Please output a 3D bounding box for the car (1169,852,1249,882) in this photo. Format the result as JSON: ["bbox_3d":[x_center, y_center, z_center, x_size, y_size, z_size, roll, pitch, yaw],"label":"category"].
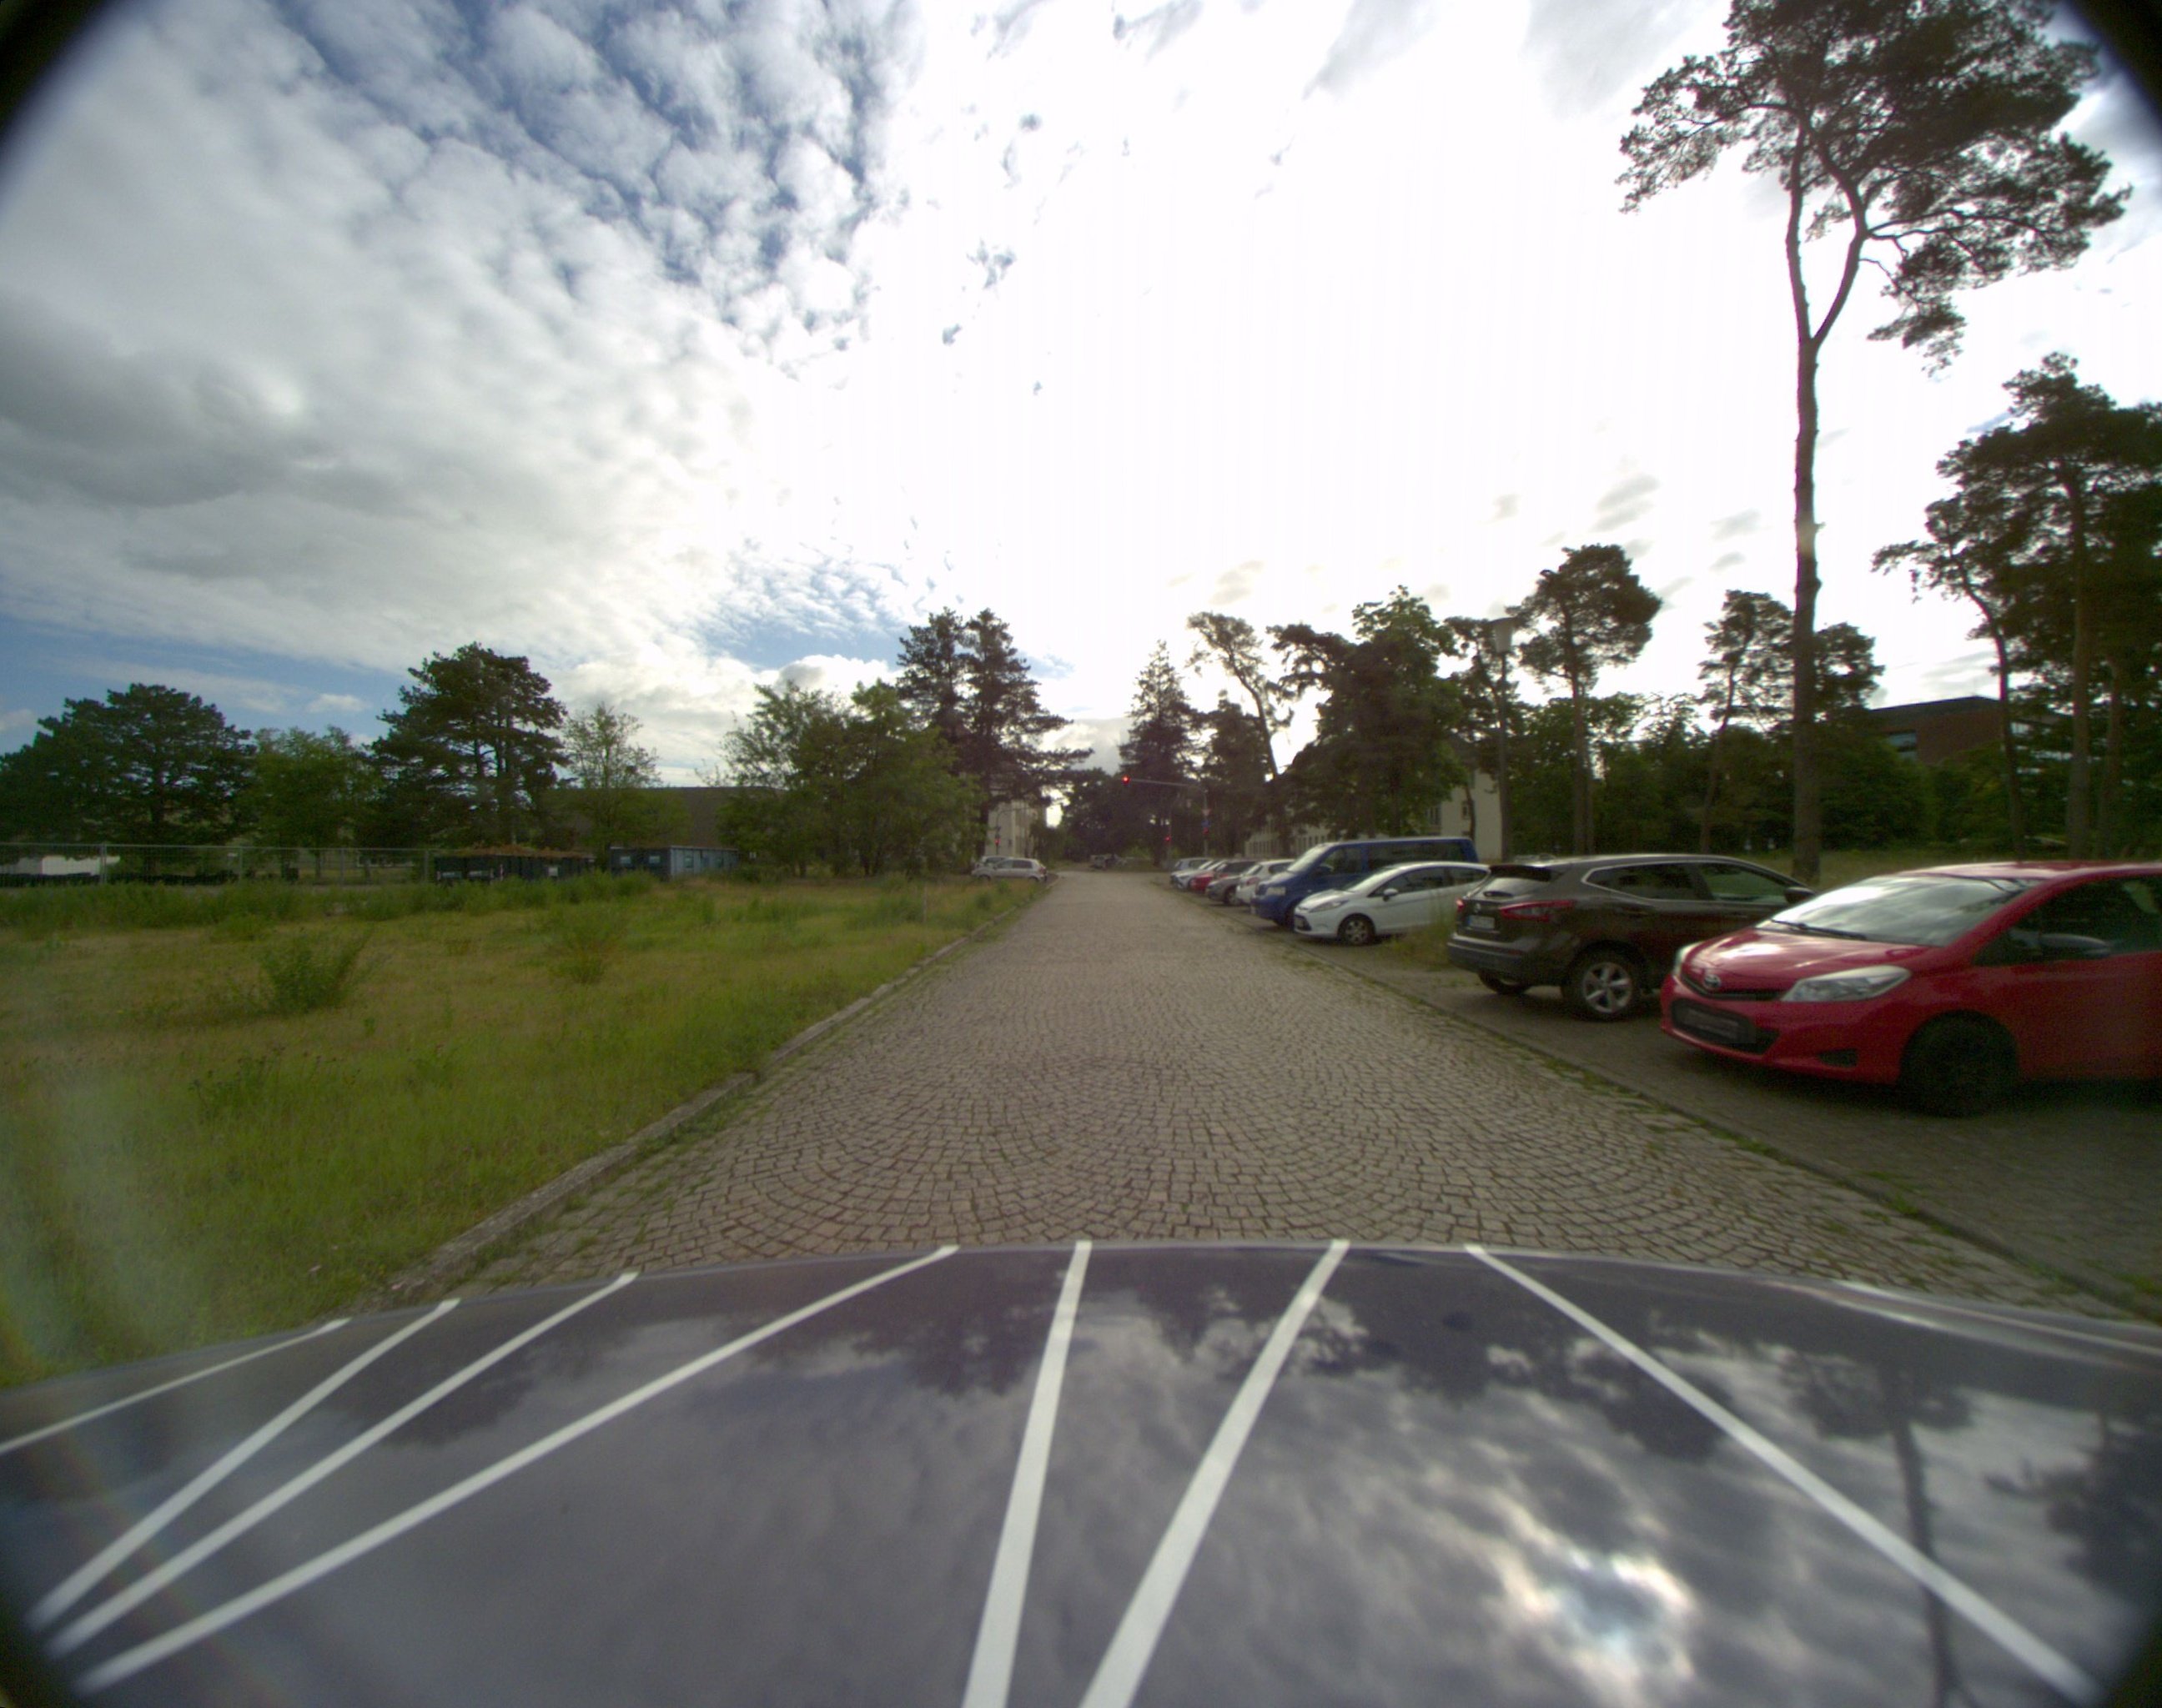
[{"bbox_3d":[6.808,0.694,40.675,3.997,1.534,1.905,-1,0,0],"label":"car"}]

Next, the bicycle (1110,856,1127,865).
[{"bbox_3d":[4.475,0.765,90.566,1.950,1.059,0.562,-1,1,-1],"label":"bicycle"}]

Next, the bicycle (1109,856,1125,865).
[{"bbox_3d":[4.387,0.733,92.282,1.950,1.059,0.562,-1,1,-1],"label":"bicycle"}]

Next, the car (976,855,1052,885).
[{"bbox_3d":[-3.706,0.877,42.592,4.084,1.444,1.885,2,0,-1],"label":"car"}]

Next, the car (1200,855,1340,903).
[{"bbox_3d":[6.138,0.803,24.996,4.176,1.483,1.865,-1,0,3],"label":"car"}]

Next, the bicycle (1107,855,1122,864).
[{"bbox_3d":[4.229,0.677,96.083,1.950,1.059,0.562,-1,1,-1],"label":"bicycle"}]

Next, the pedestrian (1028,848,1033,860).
[{"bbox_3d":[-6.958,0.041,105.110,0.568,1.691,0.532,-1,1,5],"label":"pedestrian"}]

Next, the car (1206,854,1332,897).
[{"bbox_3d":[6.828,0.776,27.911,4.176,1.473,1.846,-1,0,2],"label":"car"}]

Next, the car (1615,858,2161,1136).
[{"bbox_3d":[6.426,0.810,5.230,4.177,1.501,1.907,-1,0,0],"label":"car"}]

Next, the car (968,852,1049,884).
[{"bbox_3d":[-3.761,0.735,39.882,4.084,1.506,1.804,2,0,-1],"label":"car"}]

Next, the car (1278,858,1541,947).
[{"bbox_3d":[6.030,0.863,14.273,4.177,1.501,1.781,-1,0,-1],"label":"car"}]

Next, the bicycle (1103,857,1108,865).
[{"bbox_3d":[2.770,0.816,86.090,0.459,0.903,1.663,-1,0,5],"label":"bicycle"}]

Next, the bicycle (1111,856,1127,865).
[{"bbox_3d":[4.571,0.754,91.212,1.950,1.059,0.562,-1,1,-1],"label":"bicycle"}]

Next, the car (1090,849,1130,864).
[{"bbox_3d":[4.165,0.360,107.919,5.366,1.987,2.289,-1,0,-7],"label":"car"}]

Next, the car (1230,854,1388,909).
[{"bbox_3d":[6.535,0.765,22.147,4.077,1.488,1.846,-1,0,2],"label":"car"}]

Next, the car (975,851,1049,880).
[{"bbox_3d":[-4.083,0.676,45.315,4.251,1.587,1.884,2,0,-3],"label":"car"}]

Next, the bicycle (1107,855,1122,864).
[{"bbox_3d":[4.212,0.687,95.484,1.950,1.059,0.562,-1,1,-1],"label":"bicycle"}]

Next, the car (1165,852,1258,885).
[{"bbox_3d":[6.494,0.707,37.989,4.262,1.539,1.935,-1,0,-2],"label":"car"}]

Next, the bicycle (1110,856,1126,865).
[{"bbox_3d":[4.385,0.750,90.038,1.950,1.104,0.562,-1,1,-1],"label":"bicycle"}]

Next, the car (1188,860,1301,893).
[{"bbox_3d":[6.513,0.887,30.575,4.176,1.259,1.831,-1,0,2],"label":"car"}]

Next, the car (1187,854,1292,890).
[{"bbox_3d":[6.798,0.749,32.941,4.176,1.468,1.864,-1,0,0],"label":"car"}]

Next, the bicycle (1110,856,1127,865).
[{"bbox_3d":[4.494,0.746,91.699,1.950,1.059,0.562,-1,1,-1],"label":"bicycle"}]

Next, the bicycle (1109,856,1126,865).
[{"bbox_3d":[4.320,0.782,89.485,1.898,1.059,0.616,-1,1,-1],"label":"bicycle"}]

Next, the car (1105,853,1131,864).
[{"bbox_3d":[5.077,0.612,104.269,3.439,1.440,1.913,-1,0,0],"label":"car"}]

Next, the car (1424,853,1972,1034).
[{"bbox_3d":[6.140,0.815,7.977,4.177,1.613,1.986,-1,0,-1],"label":"car"}]

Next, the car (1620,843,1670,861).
[{"bbox_3d":[60.673,-0.198,81.744,3.996,1.796,1.722,-1,0,4],"label":"car"}]

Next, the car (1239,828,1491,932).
[{"bbox_3d":[6.127,0.540,16.857,4.794,2.109,2.115,-1,0,0],"label":"car"}]

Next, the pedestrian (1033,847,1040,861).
[{"bbox_3d":[-6.117,0.005,103.849,0.589,1.926,0.792,-1,1,-32],"label":"pedestrian"}]

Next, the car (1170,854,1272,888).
[{"bbox_3d":[6.427,0.767,35.245,4.385,1.499,1.935,-1,0,-1],"label":"car"}]
